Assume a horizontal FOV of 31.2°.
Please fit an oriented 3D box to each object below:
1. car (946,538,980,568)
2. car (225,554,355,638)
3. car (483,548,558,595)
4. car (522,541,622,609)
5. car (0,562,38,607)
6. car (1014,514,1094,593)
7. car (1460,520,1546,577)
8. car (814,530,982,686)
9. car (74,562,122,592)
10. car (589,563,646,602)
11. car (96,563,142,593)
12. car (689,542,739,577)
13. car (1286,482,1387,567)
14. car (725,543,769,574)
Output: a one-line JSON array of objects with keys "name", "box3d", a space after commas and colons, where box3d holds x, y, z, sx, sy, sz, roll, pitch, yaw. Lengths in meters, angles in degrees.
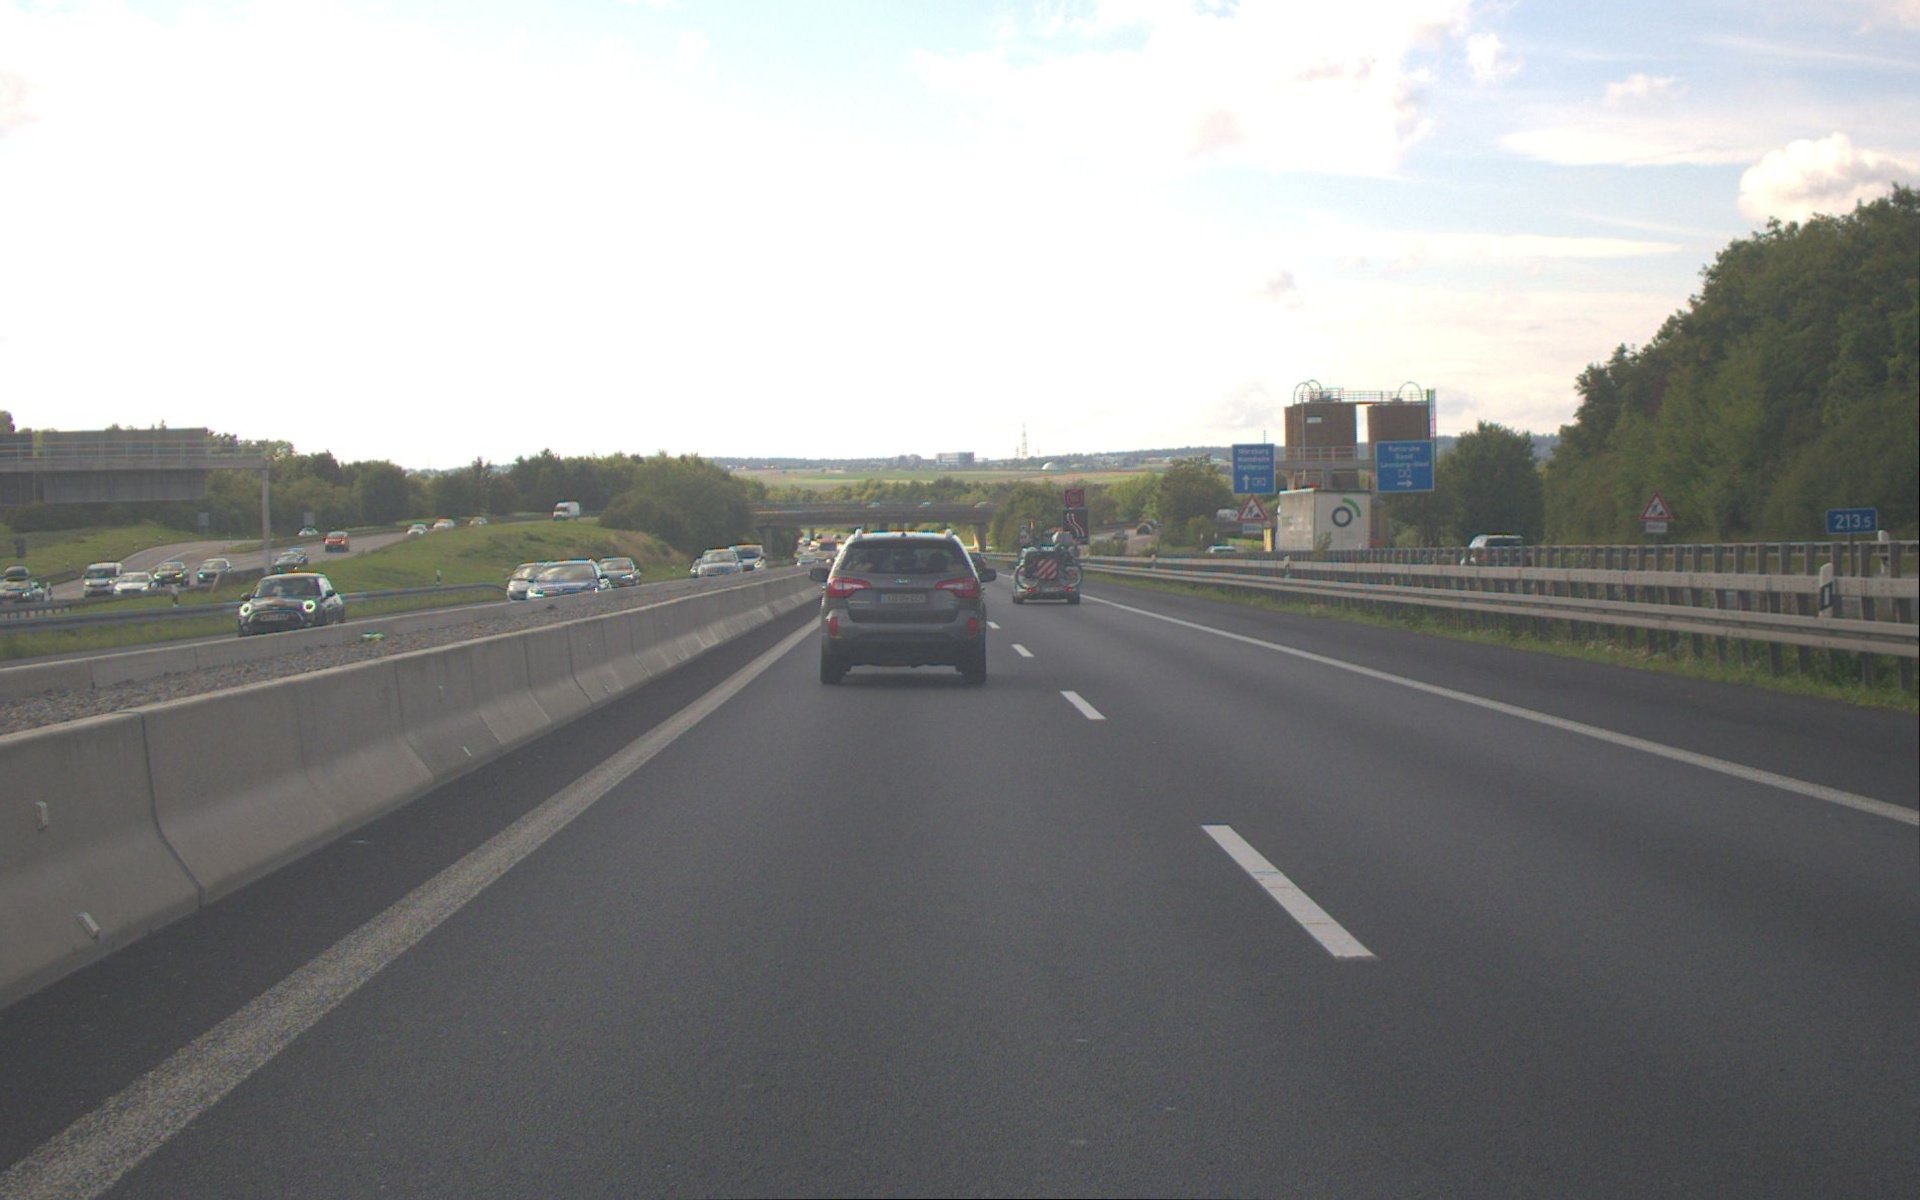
[{"name": "car", "box3d": [0.168, -2.940, 214.125, 1.975, 1.773, 4.120, -2, 1, -1]}, {"name": "car", "box3d": [-13.744, -0.111, 70.734, 1.801, 1.612, 4.302, -2, 1, -1]}, {"name": "car", "box3d": [-14.642, -0.949, 114.710, 1.993, 1.451, 4.181, -2, 1, -1]}, {"name": "car", "box3d": [-9.760, -0.645, 86.865, 1.927, 1.612, 5.419, -2, 1, -1]}, {"name": "car", "box3d": [-41.647, -0.674, 150.674, 1.772, 1.891, 4.399, -2, 1, -8]}, {"name": "car", "box3d": [2.585, -1.283, 95.394, 1.993, 2.073, 4.000, -2, 1, -1]}, {"name": "car", "box3d": [17.363, -1.631, 110.088, 1.993, 1.711, 4.000, -2, 1, -1]}, {"name": "car", "box3d": [-0.664, 0.067, 39.149, 1.750, 1.624, 3.609, -2, 1, 1]}, {"name": "car", "box3d": [-46.618, -1.231, 186.041, 1.772, 1.542, 4.891, -2, 1, -6]}, {"name": "car", "box3d": [-14.382, -0.751, 144.621, 1.993, 1.527, 4.507, -2, 1, -1]}, {"name": "car", "box3d": [-41.264, -1.075, 168.733, 1.772, 1.395, 4.400, -2, 1, -9]}, {"name": "car", "box3d": [-11.210, -1.848, 156.852, 1.993, 1.527, 5.022, -2, 1, -1]}, {"name": "car", "box3d": [17.170, -3.435, 157.376, 3.576, 3.664, 7.549, -2, 1, -1]}, {"name": "car", "box3d": [-11.116, -2.184, 179.817, 1.993, 1.527, 5.748, -2, 1, -1]}]
